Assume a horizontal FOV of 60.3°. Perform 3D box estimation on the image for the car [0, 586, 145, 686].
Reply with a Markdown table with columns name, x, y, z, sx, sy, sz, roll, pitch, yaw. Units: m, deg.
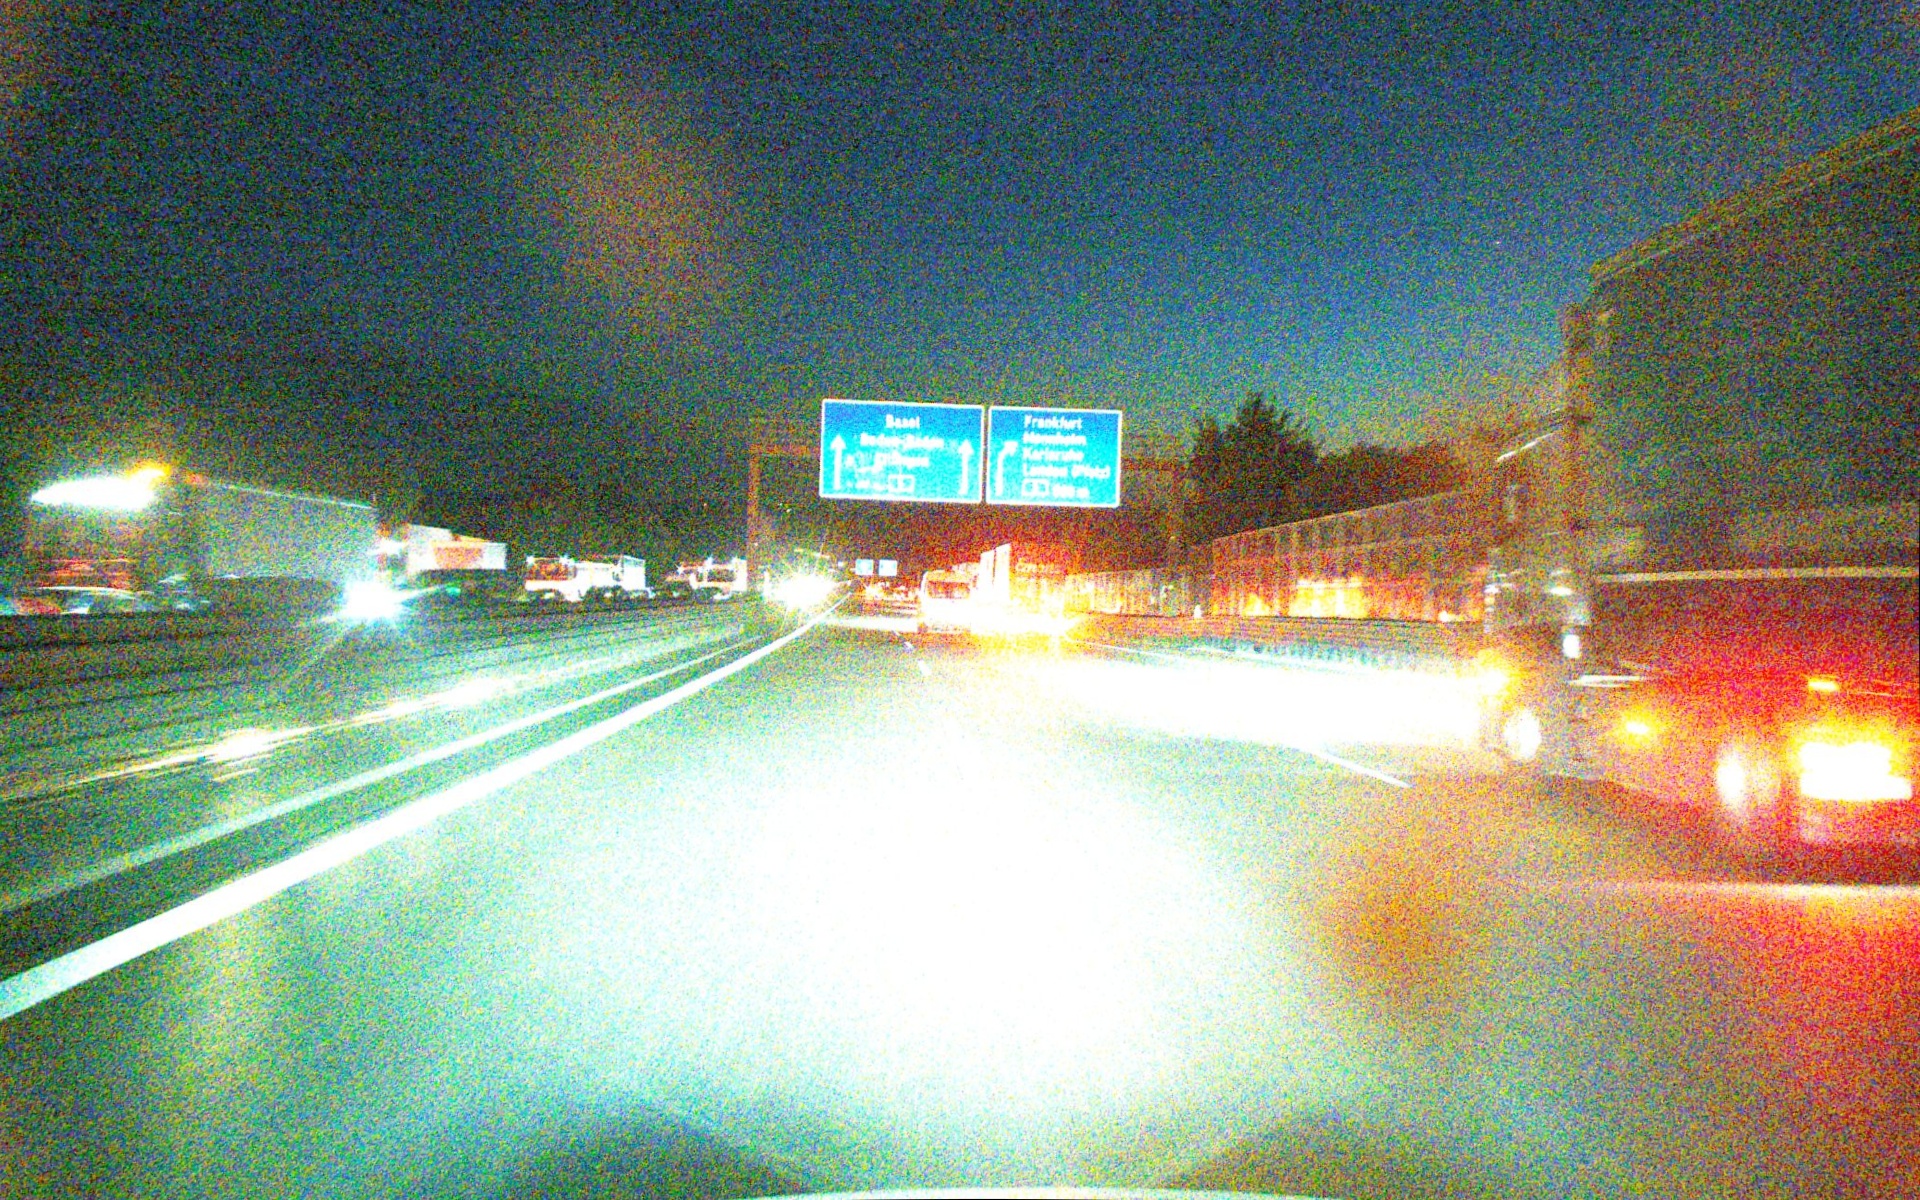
| name | x | y | z | sx | sy | sz | roll | pitch | yaw |
| --- | --- | --- | --- | --- | --- | --- | --- | --- | --- |
| car | -14.322 | 0.493 | 25.145 | 1.760 | 1.378 | 4.239 | 1 | 0 | -1 |

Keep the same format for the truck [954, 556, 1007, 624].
| name | x | y | z | sx | sy | sz | roll | pitch | yaw |
| --- | --- | --- | --- | --- | --- | --- | --- | --- | --- |
| truck | 1.401 | -0.758 | 121.356 | 3.277 | 4.554 | 13.906 | 3 | 0 | -1 |

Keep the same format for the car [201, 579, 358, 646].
| name | x | y | z | sx | sy | sz | roll | pitch | yaw |
| --- | --- | --- | --- | --- | --- | --- | --- | --- | --- |
| car | -15.138 | 0.263 | 37.046 | 1.760 | 1.378 | 4.239 | 1 | 0 | -1 |

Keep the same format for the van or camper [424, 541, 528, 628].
| name | x | y | z | sx | sy | sz | roll | pitch | yaw |
| --- | --- | --- | --- | --- | --- | --- | --- | --- | --- |
| van or camper | -19.725 | -0.613 | 67.764 | 2.384 | 3.329 | 7.389 | 1 | 0 | -3 |

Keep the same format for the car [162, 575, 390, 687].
| name | x | y | z | sx | sy | sz | roll | pitch | yaw |
| --- | --- | --- | --- | --- | --- | --- | --- | --- | --- |
| car | -10.061 | 0.431 | 24.652 | 1.624 | 1.497 | 4.001 | 1 | 0 | 1 |

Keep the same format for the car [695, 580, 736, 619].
| name | x | y | z | sx | sy | sz | roll | pitch | yaw |
| --- | --- | --- | --- | --- | --- | --- | --- | --- | --- |
| car | -14.101 | 0.002 | 95.488 | 1.955 | 2.049 | 3.996 | 3 | -1 | -5 |

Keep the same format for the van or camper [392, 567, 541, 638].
| name | x | y | z | sx | sy | sz | roll | pitch | yaw |
| --- | --- | --- | --- | --- | --- | --- | --- | --- | --- |
| van or camper | -10.542 | 0.040 | 35.721 | 1.783 | 1.378 | 5.349 | 1 | 0 | -2 |

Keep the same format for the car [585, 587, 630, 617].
| name | x | y | z | sx | sy | sz | roll | pitch | yaw |
| --- | --- | --- | --- | --- | --- | --- | --- | --- | --- |
| car | -17.050 | 0.110 | 80.079 | 1.539 | 1.378 | 3.997 | 1 | 0 | -4 |

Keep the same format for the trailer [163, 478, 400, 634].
| name | x | y | z | sx | sy | sz | roll | pitch | yaw |
| --- | --- | --- | --- | --- | --- | --- | --- | --- | --- |
| trailer | -18.369 | -1.037 | 45.786 | 2.346 | 3.690 | 11.173 | 2 | 0 | -3 |

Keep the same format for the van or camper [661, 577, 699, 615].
| name | x | y | z | sx | sy | sz | roll | pitch | yaw |
| --- | --- | --- | --- | --- | --- | --- | --- | --- | --- |
| van or camper | -20.539 | -0.298 | 121.532 | 2.043 | 2.678 | 7.597 | 1 | 0 | -4 |

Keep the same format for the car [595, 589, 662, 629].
| name | x | y | z | sx | sy | sz | roll | pitch | yaw |
| --- | --- | --- | --- | --- | --- | --- | --- | --- | --- |
| car | -12.082 | 0.330 | 60.557 | 1.538 | 1.378 | 4.001 | 1 | 0 | 1 |

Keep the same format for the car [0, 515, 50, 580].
| name | x | y | z | sx | sy | sz | roll | pitch | yaw |
| --- | --- | --- | --- | --- | --- | --- | --- | --- | --- |
| car | -21.491 | -1.167 | 35.663 | 1.538 | 1.378 | 3.999 | 1 | 0 | -1 |

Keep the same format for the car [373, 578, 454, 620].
| name | x | y | z | sx | sy | sz | roll | pitch | yaw |
| --- | --- | --- | --- | --- | --- | --- | --- | --- | --- |
| car | -19.039 | -0.049 | 57.779 | 1.539 | 1.378 | 4.638 | 1 | 0 | -4 |

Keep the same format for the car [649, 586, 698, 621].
| name | x | y | z | sx | sy | sz | roll | pitch | yaw |
| --- | --- | --- | --- | --- | --- | --- | --- | --- | --- |
| car | -11.850 | 0.142 | 68.590 | 1.539 | 1.378 | 3.997 | 1 | 0 | -3 |

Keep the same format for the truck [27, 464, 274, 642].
| name | x | y | z | sx | sy | sz | roll | pitch | yaw |
| --- | --- | --- | --- | --- | --- | --- | --- | --- | --- |
| truck | -18.004 | -0.969 | 37.308 | 2.355 | 3.575 | 6.720 | 2 | 0 | -2 |

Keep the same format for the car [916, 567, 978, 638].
| name | x | y | z | sx | sy | sz | roll | pitch | yaw |
| --- | --- | --- | --- | --- | --- | --- | --- | --- | --- |
| car | -0.553 | 0.167 | 66.405 | 2.290 | 2.686 | 5.245 | 2 | -1 | -1 |

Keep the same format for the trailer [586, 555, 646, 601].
| name | x | y | z | sx | sy | sz | roll | pitch | yaw |
| --- | --- | --- | --- | --- | --- | --- | --- | --- | --- |
| trailer | -28.695 | -1.761 | 138.518 | 2.901 | 3.502 | 13.427 | 3 | 0 | -4 |

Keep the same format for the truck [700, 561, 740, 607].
| name | x | y | z | sx | sy | sz | roll | pitch | yaw |
| --- | --- | --- | --- | --- | --- | --- | --- | --- | --- |
| truck | -21.116 | -1.390 | 145.926 | 2.818 | 3.737 | 6.774 | 3 | -1 | -4 |

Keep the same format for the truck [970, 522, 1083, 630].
| name | x | y | z | sx | sy | sz | roll | pitch | yaw |
| --- | --- | --- | --- | --- | --- | --- | --- | --- | --- |
| truck | 2.966 | -0.934 | 82.625 | 3.837 | 4.708 | 21.005 | -1 | -1 | -3 |

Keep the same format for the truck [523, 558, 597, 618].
| name | x | y | z | sx | sy | sz | roll | pitch | yaw |
| --- | --- | --- | --- | --- | --- | --- | --- | --- | --- |
| truck | -21.546 | -0.587 | 89.424 | 2.505 | 3.038 | 7.447 | 1 | -1 | -3 |

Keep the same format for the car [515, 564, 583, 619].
| name | x | y | z | sx | sy | sz | roll | pitch | yaw |
| --- | --- | --- | --- | --- | --- | --- | --- | --- | --- |
| car | -16.766 | -0.307 | 67.708 | 1.955 | 2.049 | 3.996 | 3 | -1 | -5 |

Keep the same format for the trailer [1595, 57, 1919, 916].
| name | x | y | z | sx | sy | sz | roll | pitch | yaw |
| --- | --- | --- | --- | --- | --- | --- | --- | --- | --- |
| trailer | 6.117 | -0.543 | 5.191 | 2.796 | 4.138 | 13.200 | 0 | 0 | -2 |

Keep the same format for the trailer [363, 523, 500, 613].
| name | x | y | z | sx | sy | sz | roll | pitch | yaw |
| --- | --- | --- | --- | --- | --- | --- | --- | --- | --- |
| trailer | -24.176 | -1.359 | 76.485 | 2.825 | 3.740 | 13.121 | 1 | 0 | -4 |

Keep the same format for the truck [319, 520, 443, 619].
| name | x | y | z | sx | sy | sz | roll | pitch | yaw |
| --- | --- | --- | --- | --- | --- | --- | --- | --- | --- |
| truck | -23.593 | -1.182 | 67.769 | 2.825 | 3.740 | 7.258 | 1 | 0 | -4 |

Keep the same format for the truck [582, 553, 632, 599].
| name | x | y | z | sx | sy | sz | roll | pitch | yaw |
| --- | --- | --- | --- | --- | --- | --- | --- | --- | --- |
| truck | -28.321 | -1.868 | 132.976 | 2.901 | 3.502 | 6.357 | 3 | 0 | -4 |

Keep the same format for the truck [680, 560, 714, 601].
| name | x | y | z | sx | sy | sz | roll | pitch | yaw |
| --- | --- | --- | --- | --- | --- | --- | --- | --- | --- |
| truck | -25.732 | -1.897 | 161.836 | 2.819 | 3.737 | 6.042 | 3 | 0 | -7 |

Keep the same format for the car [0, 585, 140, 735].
| name | x | y | z | sx | sy | sz | roll | pitch | yaw |
| --- | --- | --- | --- | --- | --- | --- | --- | --- | --- |
| car | -9.607 | 0.543 | 15.706 | 1.538 | 1.378 | 4.001 | 1 | 0 | 1 |

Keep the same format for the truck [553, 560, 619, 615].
| name | x | y | z | sx | sy | sz | roll | pitch | yaw |
| --- | --- | --- | --- | --- | --- | --- | --- | --- | --- |
| truck | -22.092 | -0.655 | 98.018 | 2.505 | 3.038 | 7.447 | 1 | -1 | -3 |

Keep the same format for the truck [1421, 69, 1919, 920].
| name | x | y | z | sx | sy | sz | roll | pitch | yaw |
| --- | --- | --- | --- | --- | --- | --- | --- | --- | --- |
| truck | 5.899 | -0.529 | 11.878 | 2.804 | 4.148 | 7.507 | 0 | 0 | -2 |
